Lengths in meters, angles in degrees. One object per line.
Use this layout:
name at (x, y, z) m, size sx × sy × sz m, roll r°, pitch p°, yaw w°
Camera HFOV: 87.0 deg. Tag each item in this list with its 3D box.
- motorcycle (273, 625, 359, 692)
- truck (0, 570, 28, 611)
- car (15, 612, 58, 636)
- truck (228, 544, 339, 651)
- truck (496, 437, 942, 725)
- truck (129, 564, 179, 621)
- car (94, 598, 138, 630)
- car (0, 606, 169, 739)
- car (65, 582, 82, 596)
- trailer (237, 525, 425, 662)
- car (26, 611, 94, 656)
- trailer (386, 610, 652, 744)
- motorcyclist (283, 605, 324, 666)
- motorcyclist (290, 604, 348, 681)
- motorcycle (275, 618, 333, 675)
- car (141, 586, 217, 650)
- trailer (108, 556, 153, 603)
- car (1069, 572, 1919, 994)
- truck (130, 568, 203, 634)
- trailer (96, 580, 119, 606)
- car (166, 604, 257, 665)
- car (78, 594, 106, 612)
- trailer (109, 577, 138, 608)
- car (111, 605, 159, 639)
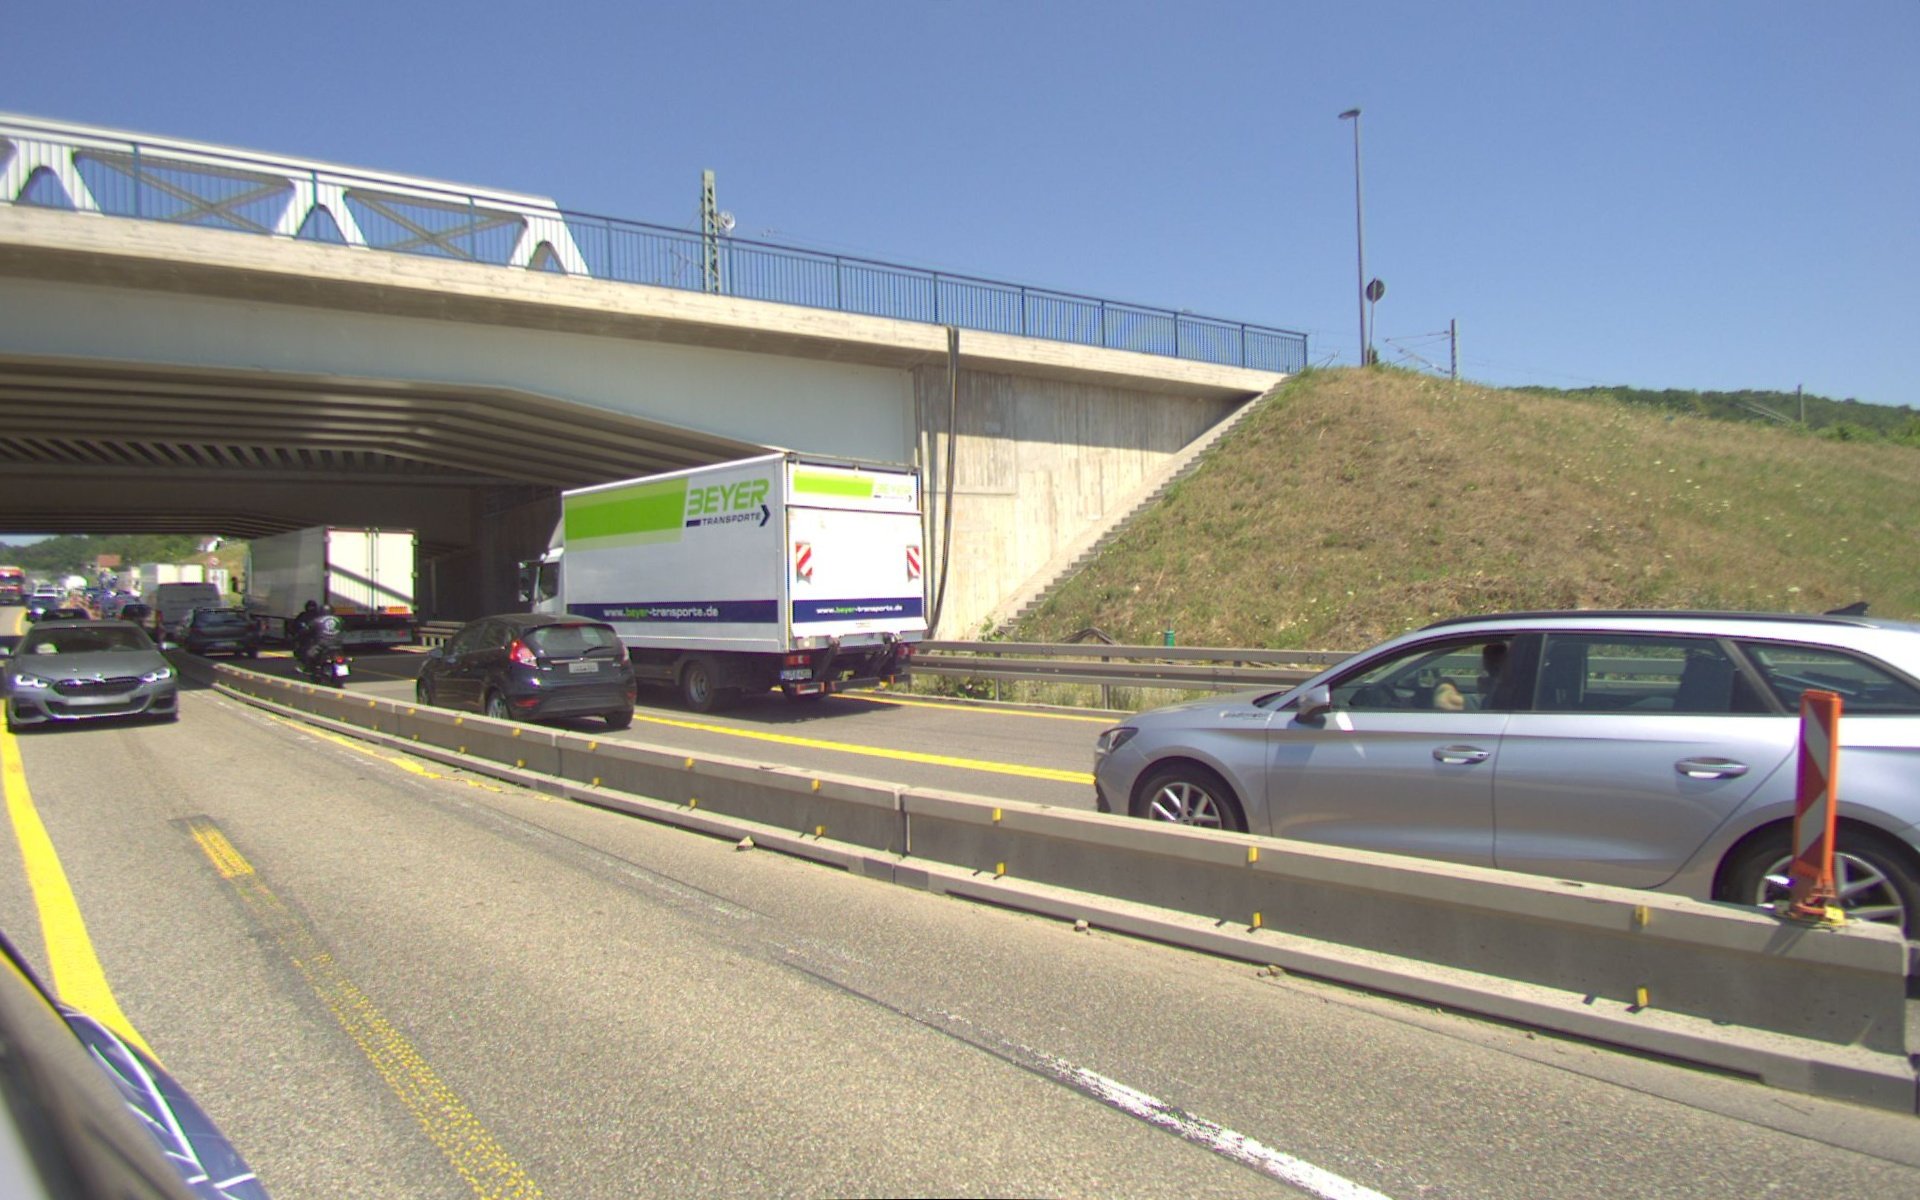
motorcycle at (-12.635, 1.106, 19.822) m, size 2.792 × 1.158 × 0.823 m, roll 0°, pitch 0°, yaw 45°
truck at (-99.717, -1.084, 105.662) m, size 3.413 × 4.077 × 10.223 m, roll 0°, pitch 1°, yaw -42°
car at (-63.657, 1.645, 69.721) m, size 3.999 × 1.564 × 1.777 m, roll -1°, pitch 0°, yaw 42°
truck at (-27.662, -0.123, 41.322) m, size 2.840 × 4.081 × 4.889 m, roll -3°, pitch 1°, yaw -44°
truck at (-4.358, -0.196, 16.573) m, size 8.496 × 3.602 × 2.787 m, roll -1°, pitch 0°, yaw 42°
truck at (-61.426, -0.592, 77.075) m, size 2.627 × 4.202 × 5.193 m, roll 0°, pitch 1°, yaw -42°
car at (-54.254, 0.867, 65.001) m, size 1.779 × 1.947 × 4.971 m, roll 0°, pitch 0°, yaw -44°
car at (-12.625, 0.905, 14.548) m, size 1.811 × 1.609 × 4.396 m, roll 0°, pitch 0°, yaw -40°
car at (-167.000, -2.075, 190.572) m, size 2.180 × 2.649 × 6.634 m, roll 0°, pitch 1°, yaw -43°
trailer at (-23.042, -0.172, 36.437) m, size 2.843 × 4.070 × 14.371 m, roll -3°, pitch 1°, yaw -43°
car at (-33.673, 1.200, 37.903) m, size 1.811 × 1.484 × 4.396 m, roll 0°, pitch 1°, yaw -41°
trailer at (-5.821, 0.871, 13.155) m, size 3.998 × 1.442 × 1.647 m, roll 0°, pitch 0°, yaw 41°
motorcyclist at (-15.936, 0.853, 24.563) m, size 0.710 × 1.427 × 0.743 m, roll 0°, pitch 1°, yaw -45°
motorcyclist at (-12.412, 0.806, 19.599) m, size 0.801 × 1.427 × 0.743 m, roll 0°, pitch 1°, yaw -45°
motorcycle at (-15.969, 1.104, 24.601) m, size 0.694 × 1.289 × 2.737 m, roll 0°, pitch -1°, yaw -43°
car at (-30.951, 0.639, 40.026) m, size 1.956 × 2.347 × 6.066 m, roll 0°, pitch 0°, yaw -41°
trailer at (-78.755, -1.958, 96.058) m, size 2.779 × 4.205 × 8.252 m, roll 0°, pitch 1°, yaw -43°
car at (2.945, 0.657, 5.071) m, size 4.519 × 1.475 × 1.826 m, roll -1°, pitch -1°, yaw 40°
truck at (-56.624, -0.093, 72.041) m, size 2.737 × 4.345 × 13.502 m, roll 0°, pitch 1°, yaw -44°
trailer at (-131.320, -1.123, 155.992) m, size 2.567 × 3.899 × 11.295 m, roll 0°, pitch 1°, yaw -39°
car at (-22.600, 0.999, 30.509) m, size 1.726 × 1.683 × 4.082 m, roll 0°, pitch -1°, yaw -43°
car at (-81.788, 0.275, 95.335) m, size 1.833 × 1.539 × 4.778 m, roll 0°, pitch 1°, yaw -43°
trailer at (-110.389, -1.044, 133.702) m, size 2.621 × 3.844 × 11.846 m, roll 0°, pitch 1°, yaw -38°
car at (-42.396, 1.095, 51.987) m, size 1.727 × 1.622 × 4.146 m, roll 0°, pitch 0°, yaw -42°
